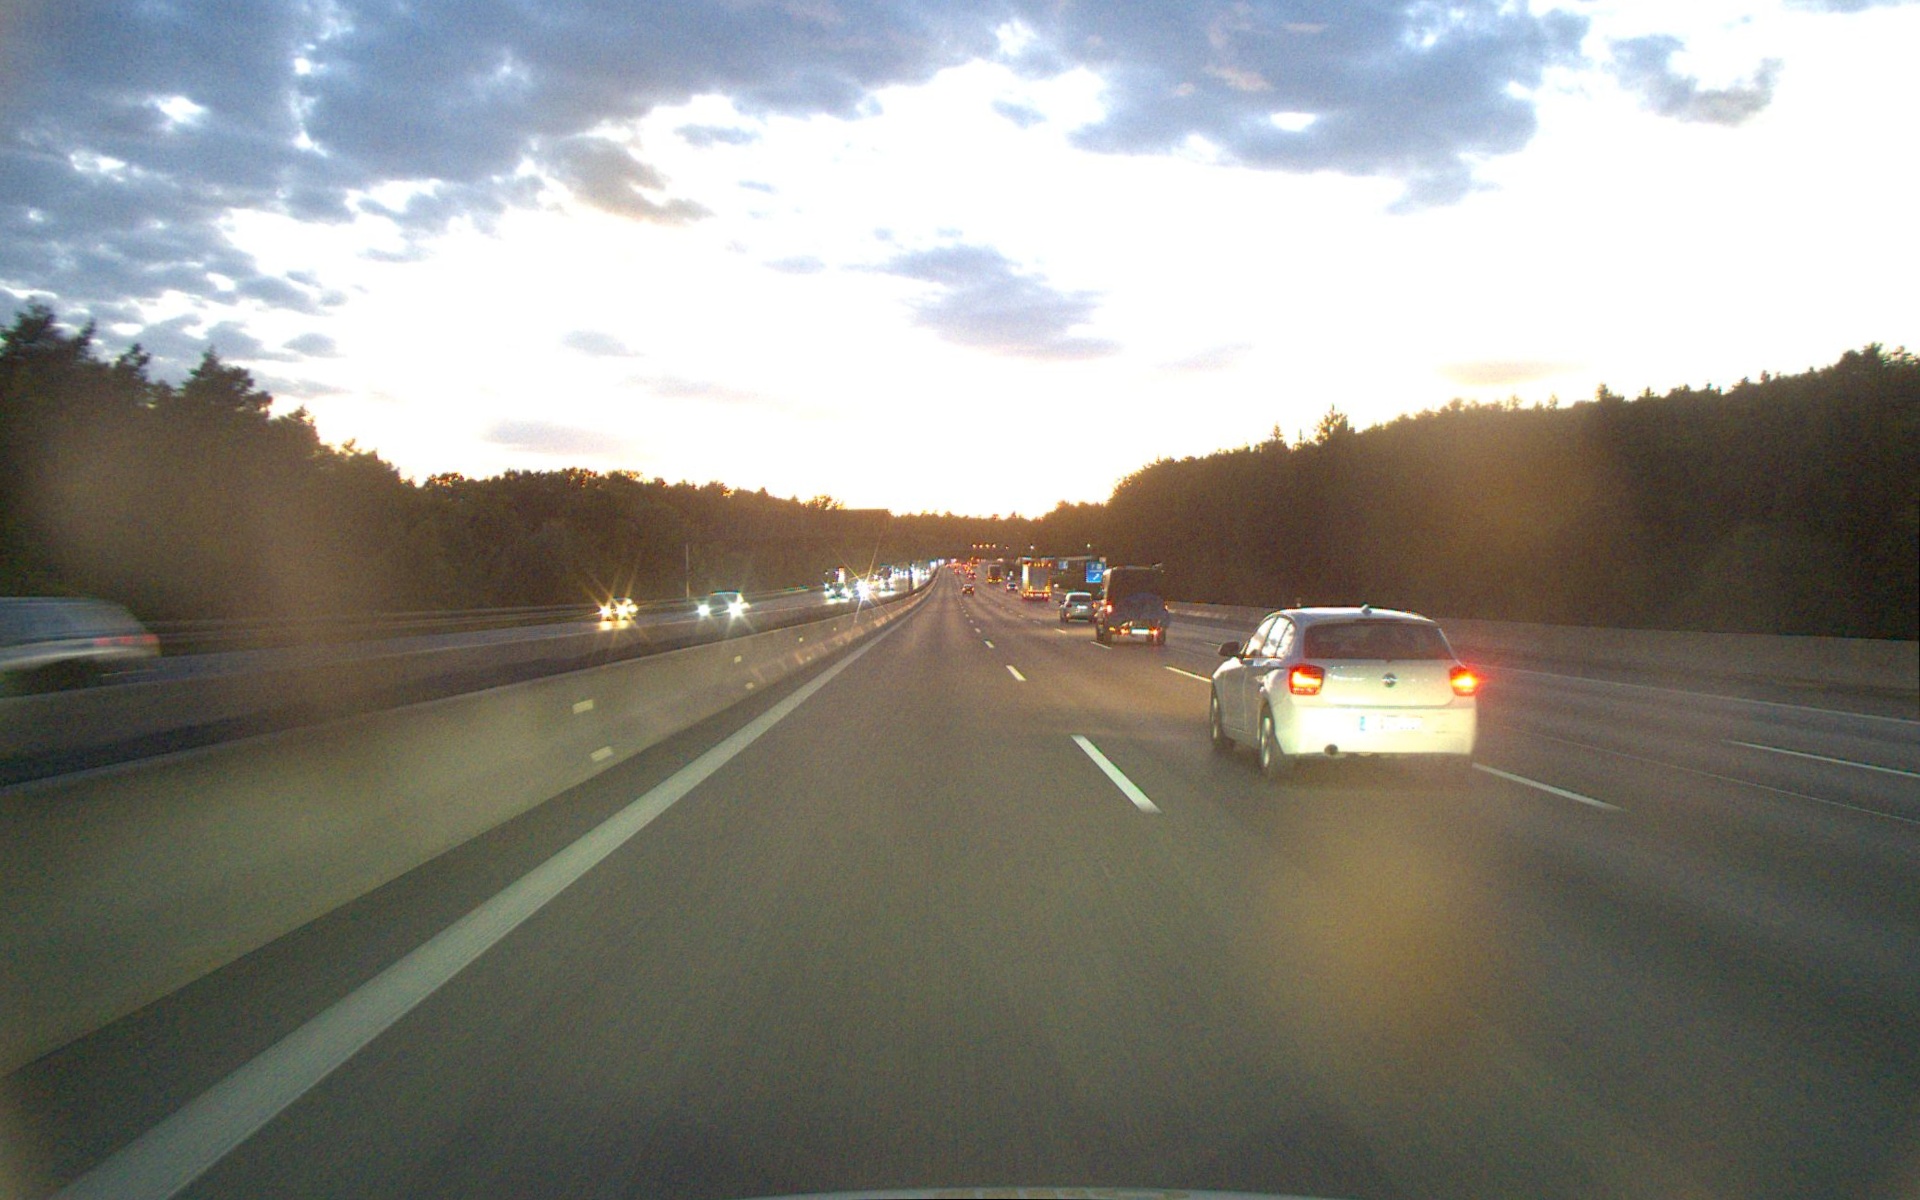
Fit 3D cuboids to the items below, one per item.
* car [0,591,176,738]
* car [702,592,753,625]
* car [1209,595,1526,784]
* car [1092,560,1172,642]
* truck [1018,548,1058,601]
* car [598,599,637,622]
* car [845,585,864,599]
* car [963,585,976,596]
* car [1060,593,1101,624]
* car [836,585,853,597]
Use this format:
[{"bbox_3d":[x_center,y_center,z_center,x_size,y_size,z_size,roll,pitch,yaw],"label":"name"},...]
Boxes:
[{"bbox_3d":[-10.287,0.626,17.449,1.811,1.438,4.789,0,0,-1],"label":"car"},{"bbox_3d":[-10.590,0.381,75.473,1.799,1.463,4.000,0,0,0],"label":"car"},{"bbox_3d":[3.493,0.715,14.881,1.822,1.467,3.719,1,0,-2],"label":"car"},{"bbox_3d":[5.440,0.018,52.863,2.121,2.461,5.565,0,0,1],"label":"car"},{"bbox_3d":[9.119,-2.943,196.176,4.064,5.958,14.295,0,0,0],"label":"truck"},{"bbox_3d":[-22.364,0.696,108.160,1.799,1.463,3.999,0,0,-1],"label":"car"},{"bbox_3d":[-11.515,-0.889,180.694,1.798,1.463,4.001,0,0,1],"label":"car"},{"bbox_3d":[1.376,-1.342,233.422,1.798,1.598,4.001,0,0,1],"label":"car"},{"bbox_3d":[6.284,0.444,86.764,1.966,1.565,4.001,0,0,1],"label":"car"},{"bbox_3d":[-14.893,-1.181,213.247,1.798,1.463,4.001,0,0,1],"label":"car"}]
